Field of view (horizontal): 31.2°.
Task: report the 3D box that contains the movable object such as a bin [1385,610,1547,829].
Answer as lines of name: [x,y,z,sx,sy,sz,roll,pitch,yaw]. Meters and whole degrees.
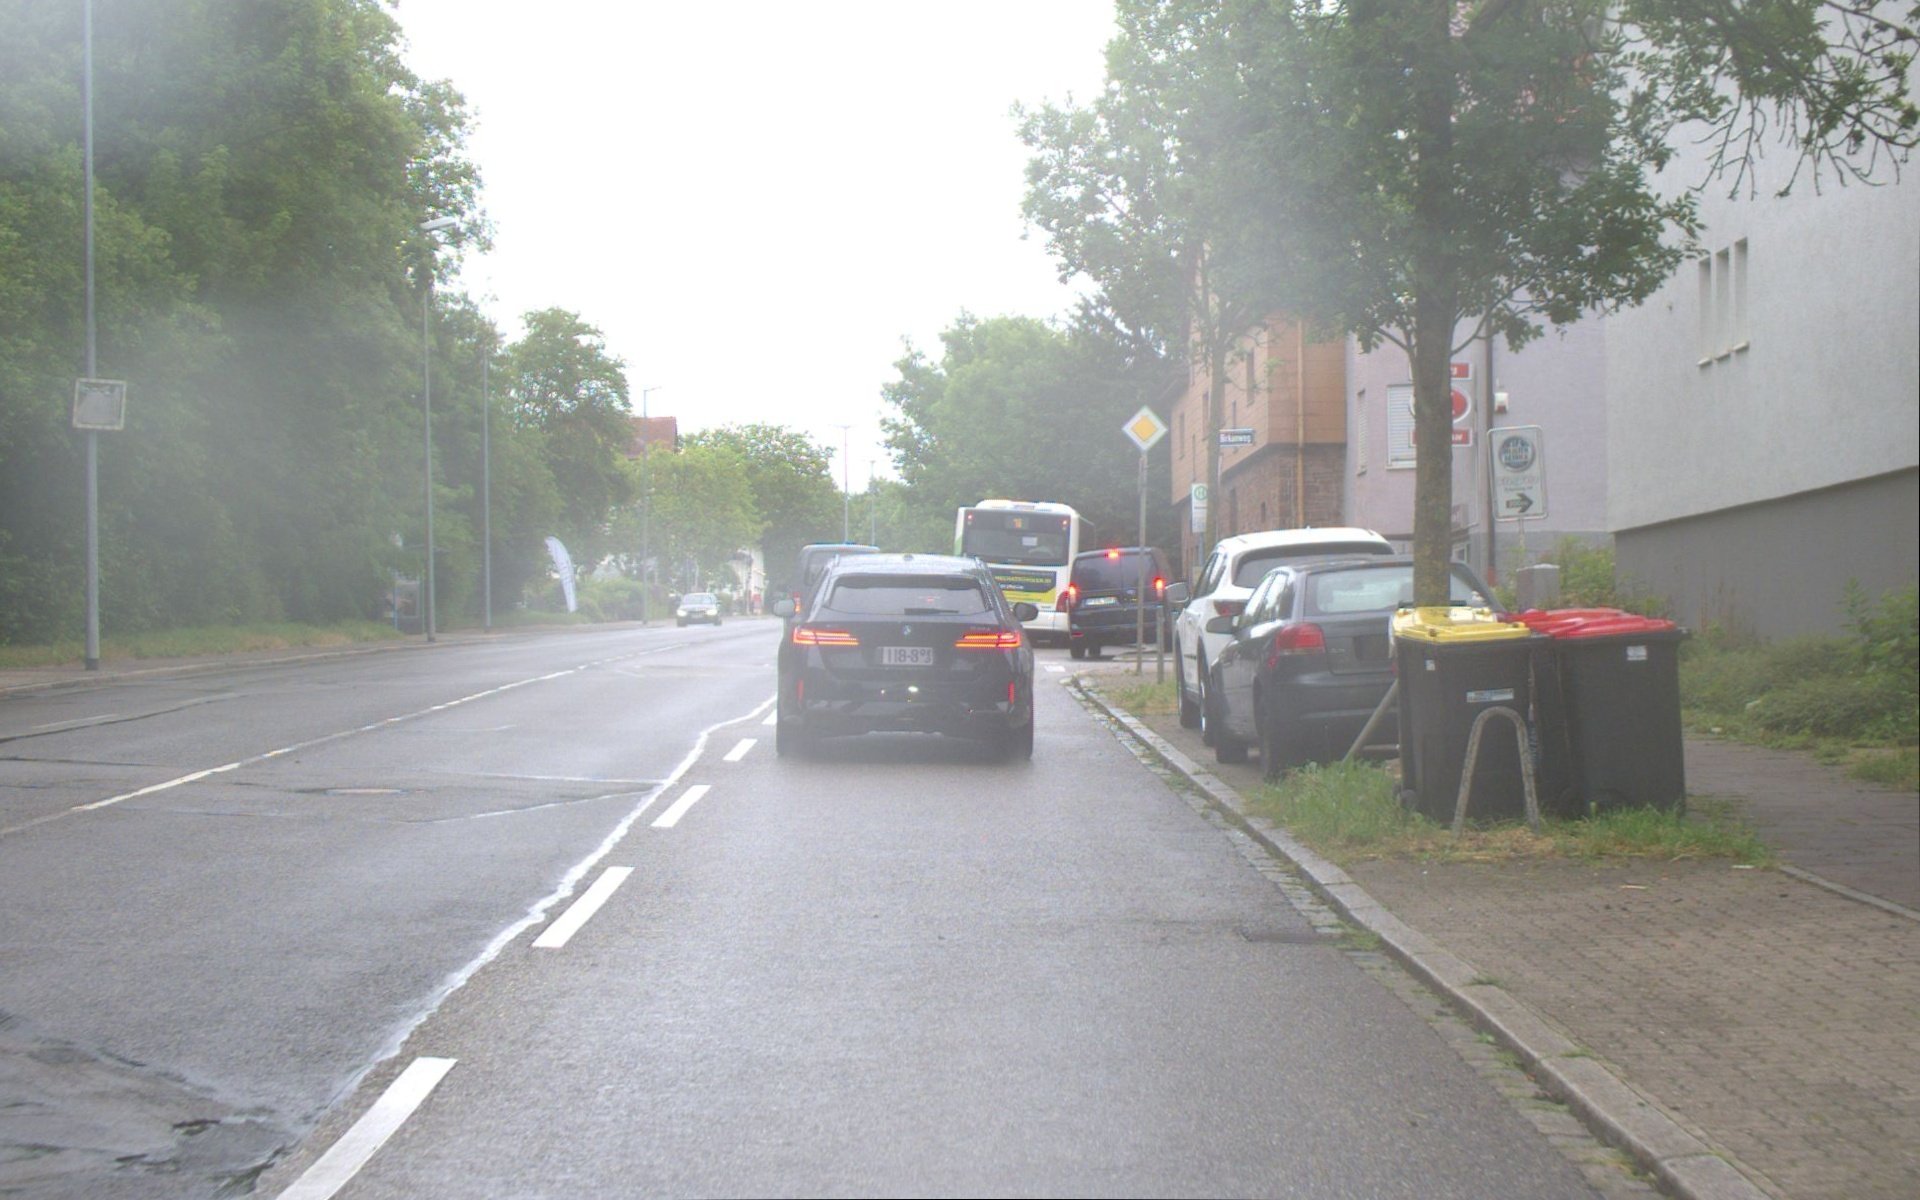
movable object such as a bin: [2.588,0.599,17.644,0.619,1.046,0.822,-3,1,-3]

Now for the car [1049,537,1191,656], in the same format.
car: [2.837,-0.065,60.041,1.927,1.886,4.759,-4,0,8]

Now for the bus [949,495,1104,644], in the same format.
bus: [1.478,-0.691,71.585,2.623,2.838,8.287,-2,1,5]

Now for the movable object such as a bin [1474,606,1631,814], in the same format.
movable object such as a bin: [3.189,0.581,18.552,0.619,1.046,0.822,-3,1,-3]

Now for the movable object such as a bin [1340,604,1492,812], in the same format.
movable object such as a bin: [2.450,0.569,18.541,0.619,1.046,0.822,-3,1,-3]

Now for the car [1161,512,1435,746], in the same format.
car: [2.737,0.176,28.718,1.824,1.766,4.541,-1,1,0]

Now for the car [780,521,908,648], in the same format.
car: [-1.859,-0.269,56.333,1.993,2.007,4.000,0,1,0]

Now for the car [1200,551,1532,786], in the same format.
car: [2.670,0.401,23.413,1.641,1.444,3.999,-1,1,-2]

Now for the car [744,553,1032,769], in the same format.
car: [-0.601,0.408,26.415,1.993,1.448,4.001,2,1,-3]

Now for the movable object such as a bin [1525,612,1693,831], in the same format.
movable object such as a bin: [3.319,0.611,17.630,0.619,1.046,0.822,-3,1,-3]

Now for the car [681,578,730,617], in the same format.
car: [-10.770,-0.102,145.636,1.770,1.528,4.000,-2,1,-1]
